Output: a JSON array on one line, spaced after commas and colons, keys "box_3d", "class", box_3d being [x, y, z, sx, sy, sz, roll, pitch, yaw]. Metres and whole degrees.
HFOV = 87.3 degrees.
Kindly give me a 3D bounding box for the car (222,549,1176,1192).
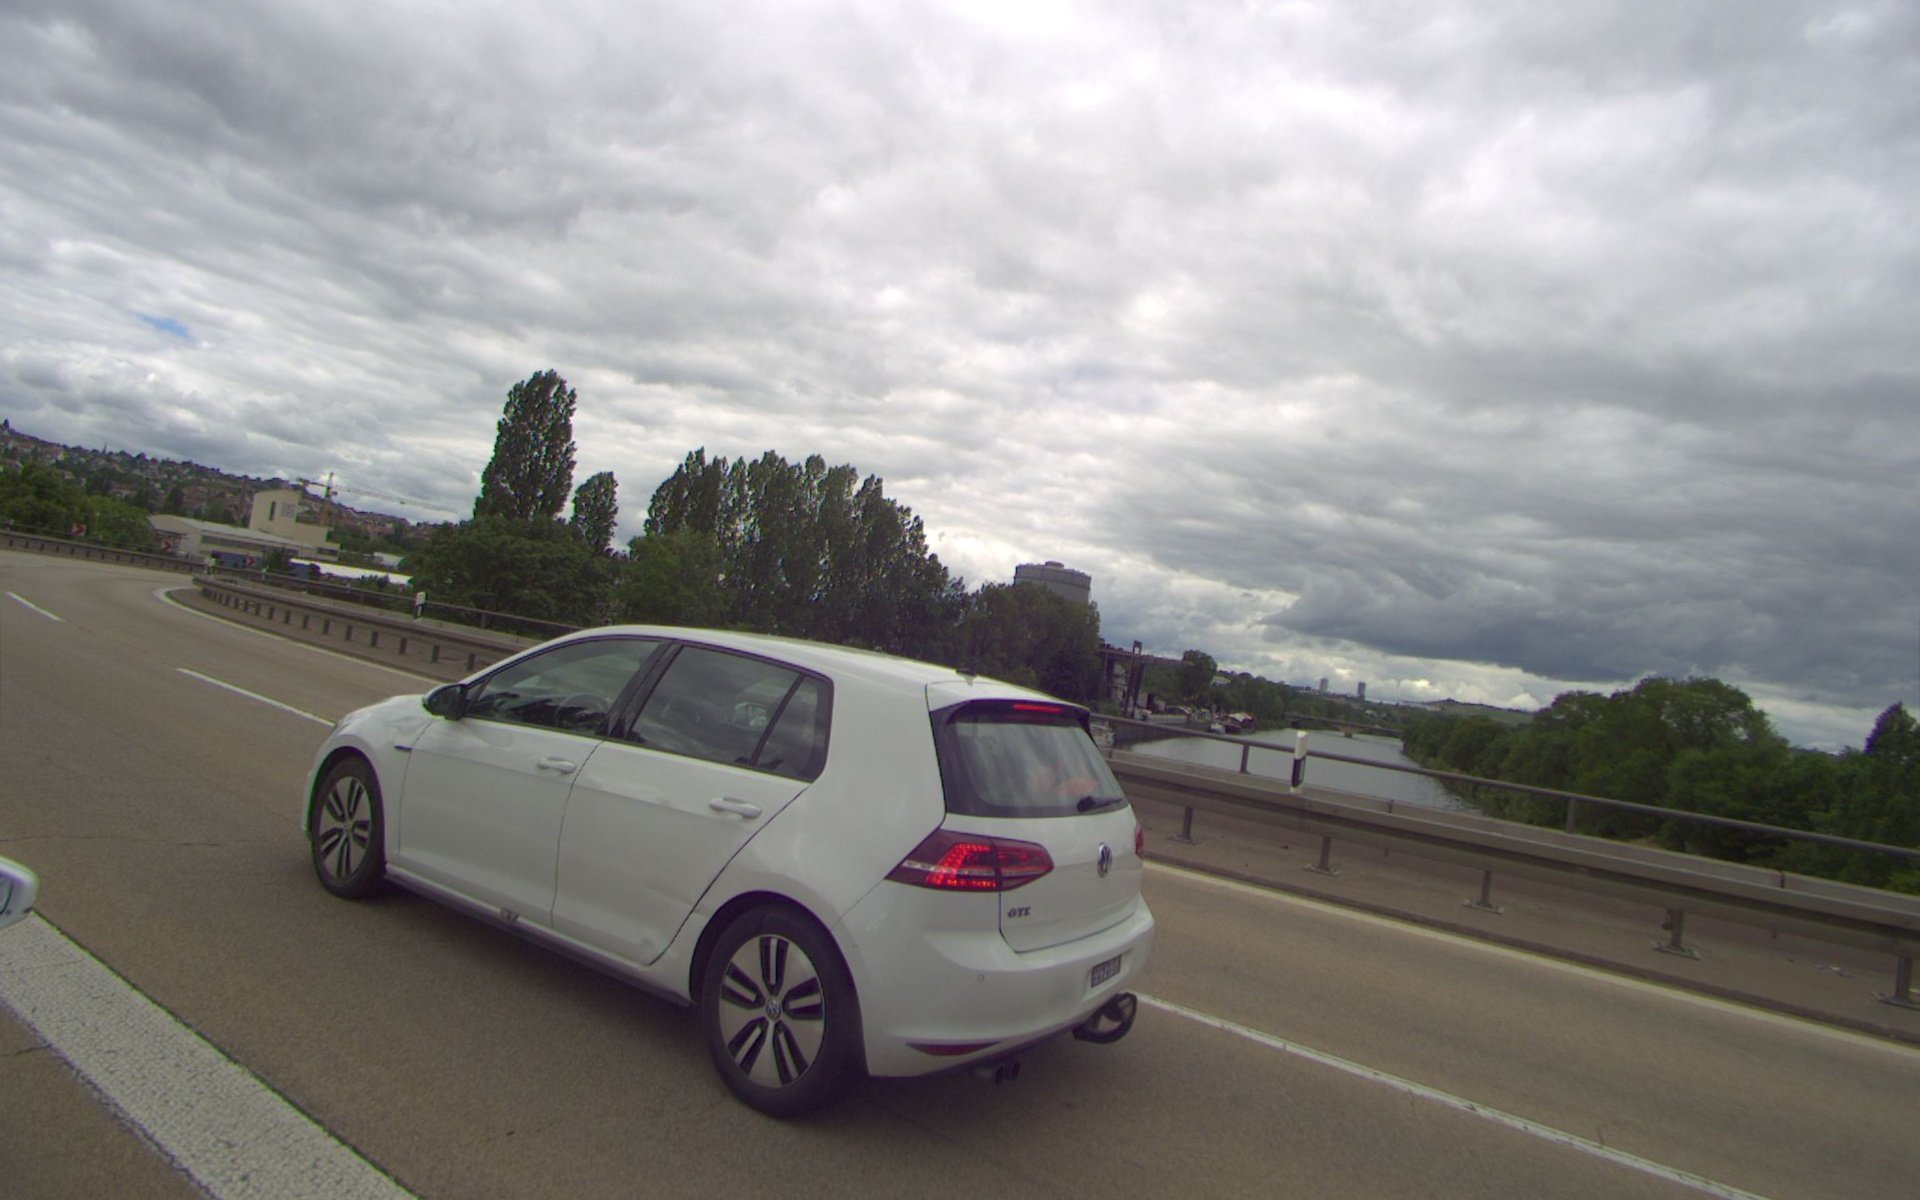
[{"box_3d": [-1.314, 0.770, 4.557, 4.004, 1.469, 1.758, 7, -1, 31], "class": "car"}]
